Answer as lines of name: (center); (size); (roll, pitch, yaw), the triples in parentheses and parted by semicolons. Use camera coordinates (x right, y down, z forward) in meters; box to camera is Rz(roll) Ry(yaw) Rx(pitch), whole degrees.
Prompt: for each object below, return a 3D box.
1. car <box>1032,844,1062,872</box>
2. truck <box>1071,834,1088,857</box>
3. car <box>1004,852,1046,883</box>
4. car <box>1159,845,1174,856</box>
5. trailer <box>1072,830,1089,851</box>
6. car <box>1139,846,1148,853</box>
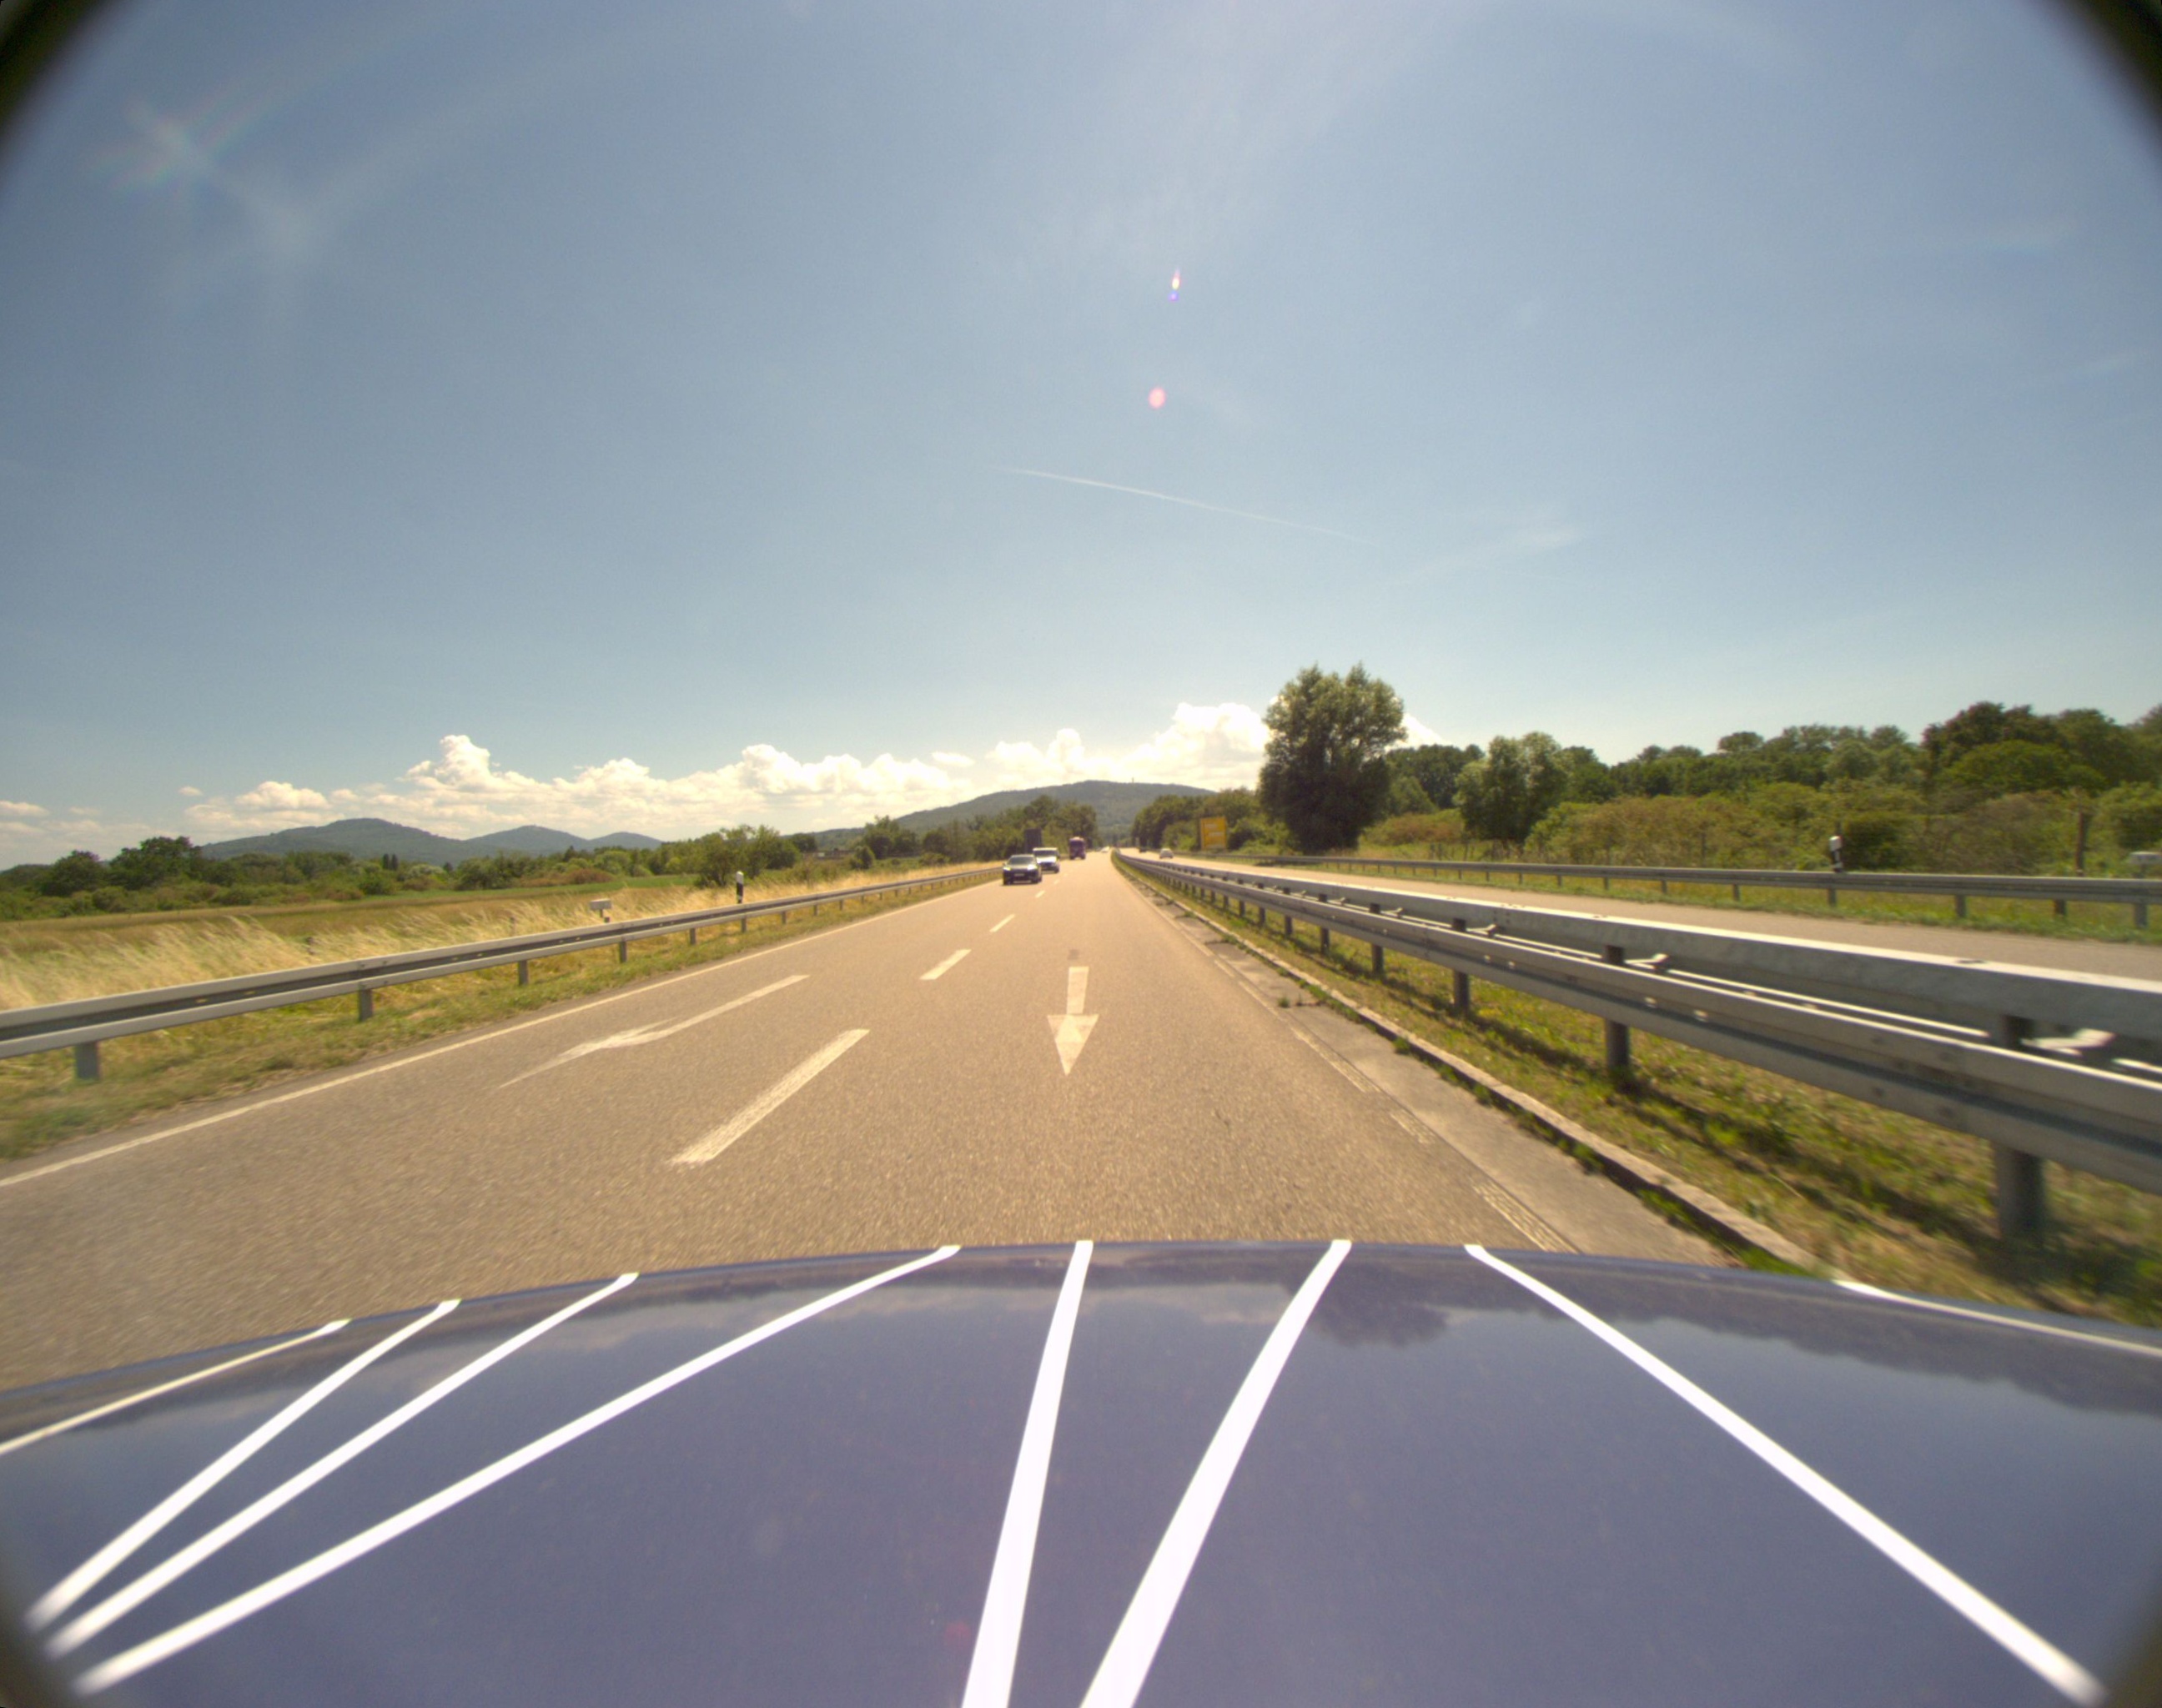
car: (-2.615, 0.275, 59.182); (2.011, 1.977, 5.034); (-3, 0, 0)
truck: (-0.212, -1.428, 130.782); (2.604, 3.670, 5.939); (-2, 0, 2)
car: (-2.911, 0.685, 40.375); (1.789, 1.544, 4.019); (-1, 0, 1)
car: (12.611, -0.490, 112.454); (1.831, 1.489, 4.102); (-4, 1, 1)
trailer: (-0.034, -2.362, 135.493); (2.604, 3.608, 8.615); (-2, 0, 2)
car: (16.386, -1.285, 199.824); (1.998, 1.627, 4.874); (-5, 0, 2)
